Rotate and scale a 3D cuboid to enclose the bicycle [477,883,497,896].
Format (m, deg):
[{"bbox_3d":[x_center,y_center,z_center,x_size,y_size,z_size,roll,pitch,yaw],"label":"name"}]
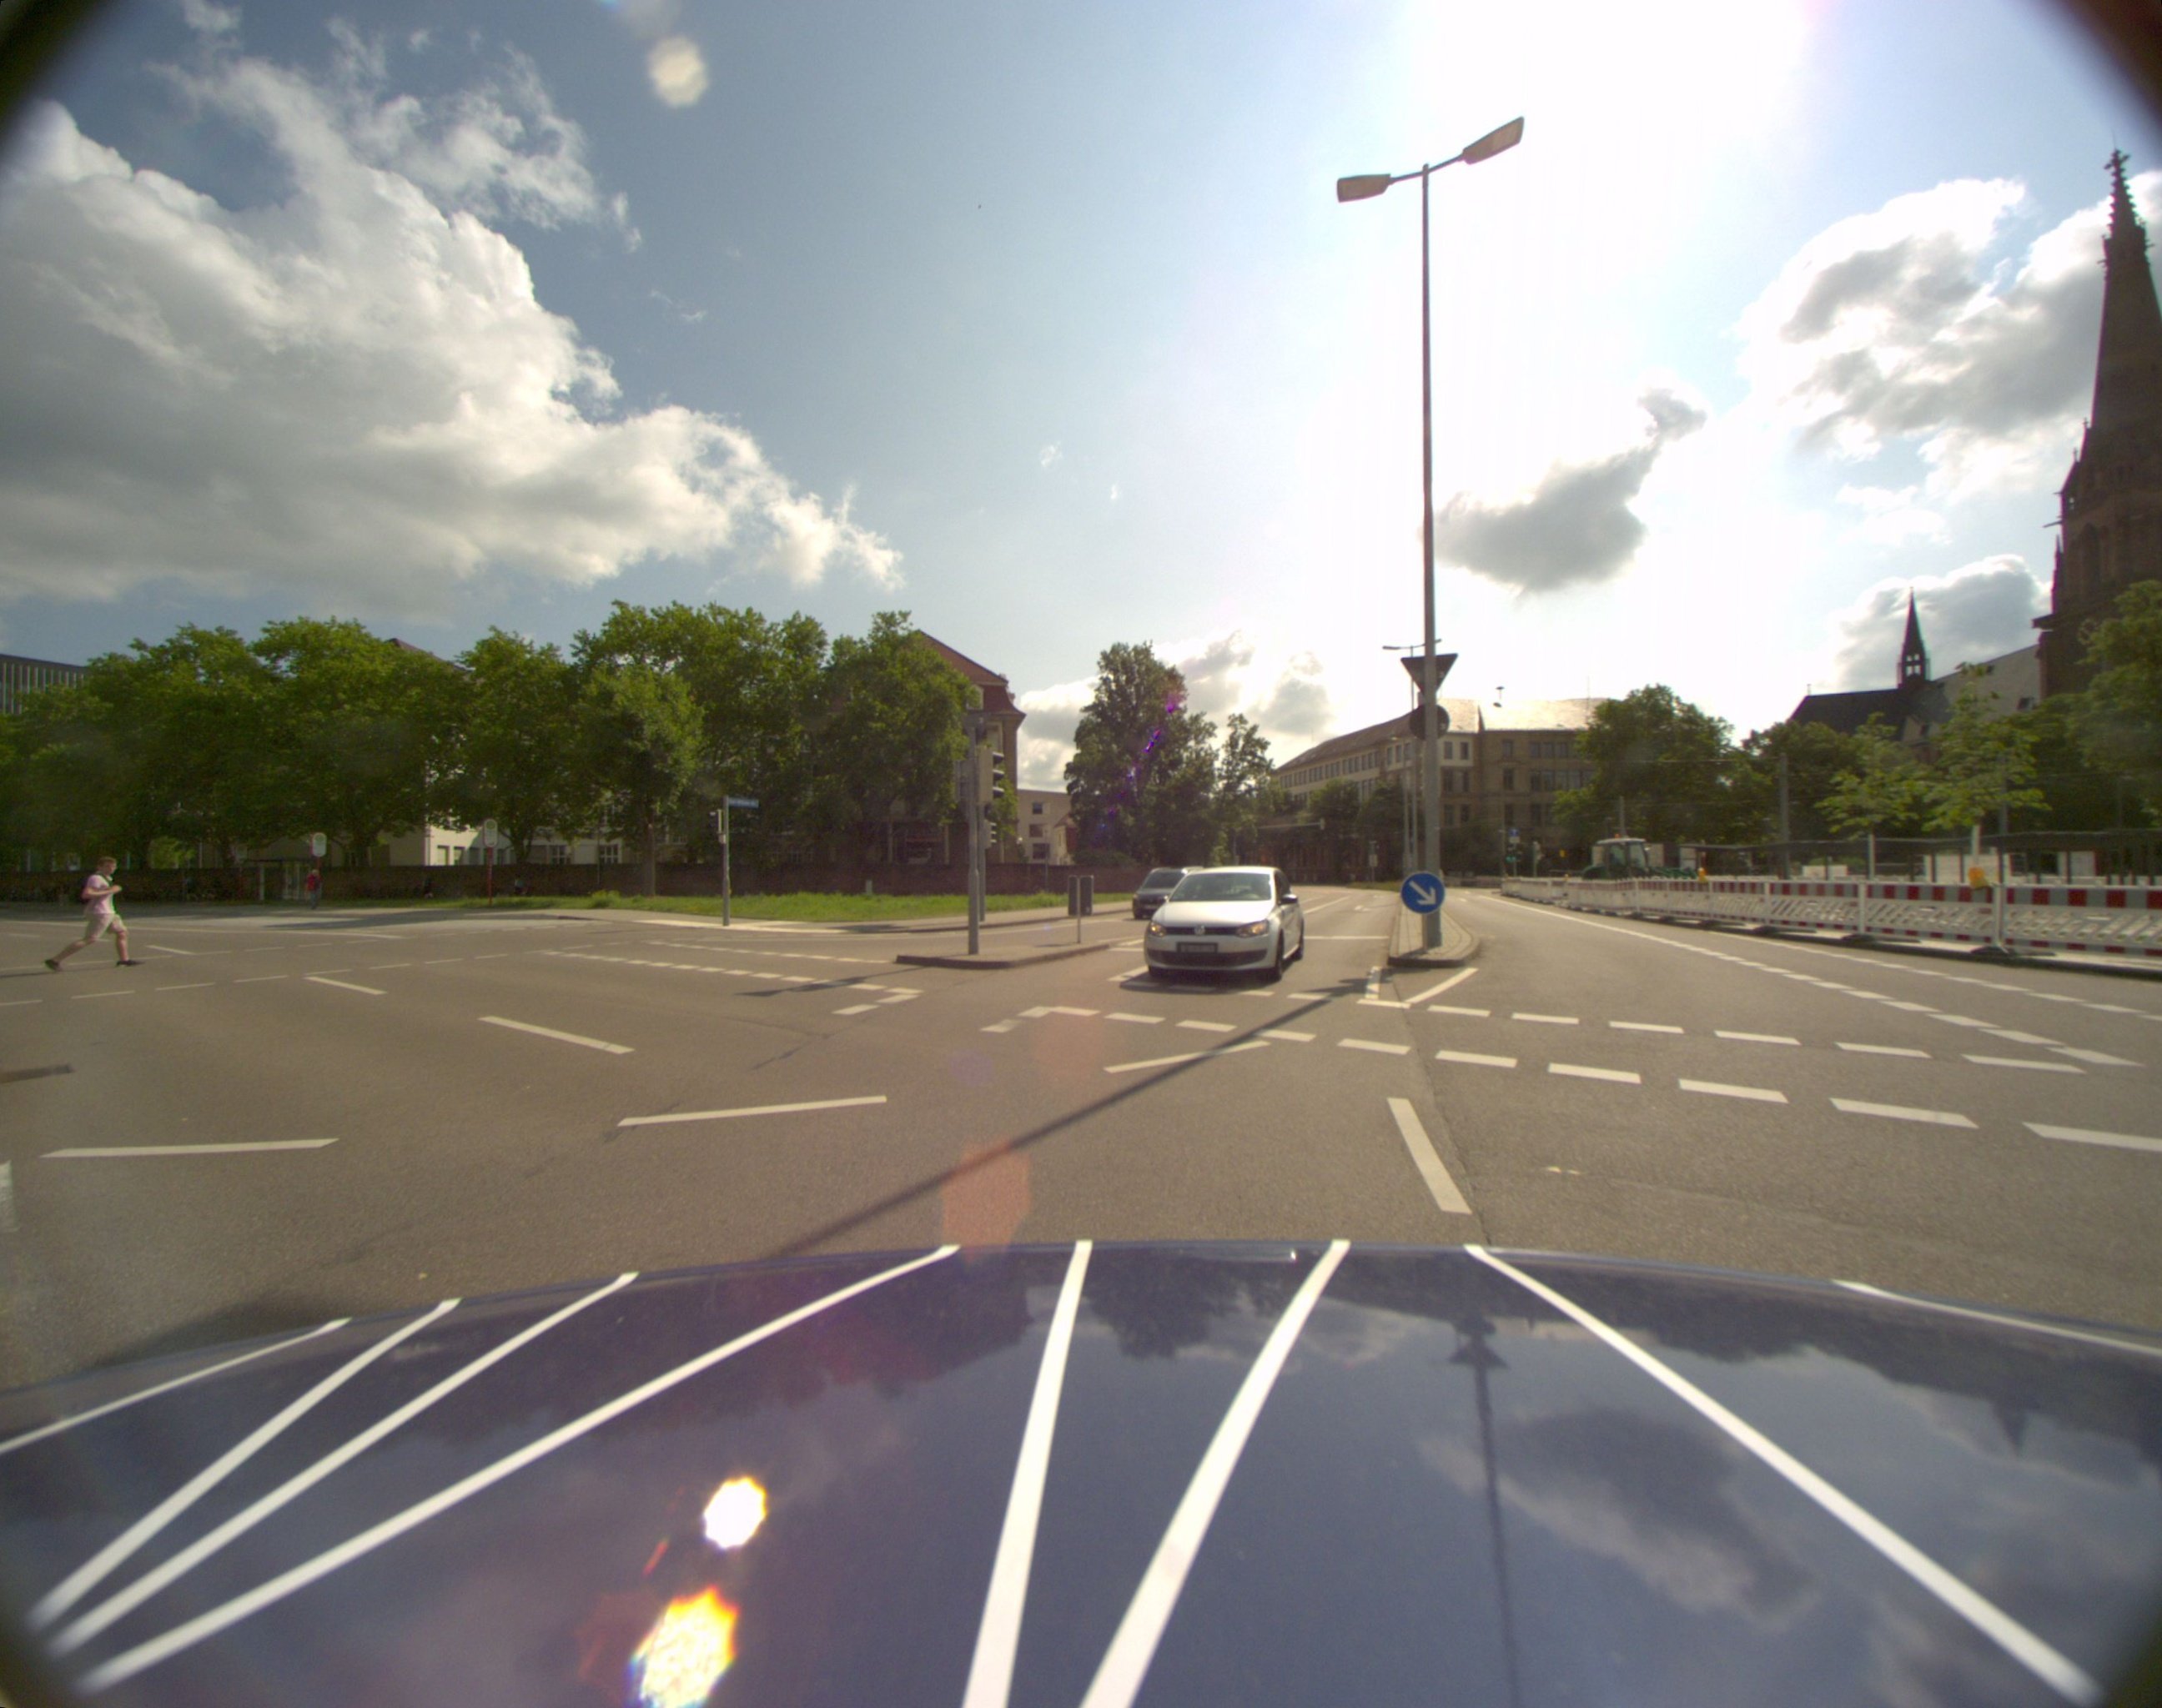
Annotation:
[{"bbox_3d":[-38.174,2.288,48.806,0.482,0.843,0.973,0,-1,1],"label":"bicycle"}]

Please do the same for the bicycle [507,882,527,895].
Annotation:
[{"bbox_3d":[-36.196,2.206,48.766,0.482,0.843,0.973,0,-1,1],"label":"bicycle"}]

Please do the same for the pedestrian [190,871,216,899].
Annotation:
[{"bbox_3d":[-56.506,2.002,48.899,0.769,1.770,0.888,0,1,23],"label":"pedestrian"}]

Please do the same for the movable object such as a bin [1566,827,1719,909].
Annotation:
[{"bbox_3d":[21.824,0.553,29.764,2.002,2.931,4.444,0,-1,-20],"label":"movable object such as a bin"}]

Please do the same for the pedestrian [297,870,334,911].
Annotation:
[{"bbox_3d":[-34.532,1.636,34.283,0.964,1.769,0.750,0,0,15],"label":"pedestrian"}]

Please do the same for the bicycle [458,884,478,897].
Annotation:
[{"bbox_3d":[-39.380,2.337,48.797,0.482,0.843,0.973,0,-1,1],"label":"bicycle"}]

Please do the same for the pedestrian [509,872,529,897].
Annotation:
[{"bbox_3d":[-35.548,1.932,48.073,0.724,1.524,0.726,-1,0,0],"label":"pedestrian"}]

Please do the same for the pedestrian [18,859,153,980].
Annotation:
[{"bbox_3d":[-16.040,1.030,12.271,0.697,1.845,1.183,-5,-2,26],"label":"pedestrian"}]

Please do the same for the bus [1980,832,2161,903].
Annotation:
[{"bbox_3d":[47.076,0.627,34.582,2.374,3.039,7.756,0,-1,-12],"label":"bus"}]

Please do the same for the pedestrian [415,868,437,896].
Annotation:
[{"bbox_3d":[-40.381,1.694,46.867,0.742,1.712,0.664,0,-1,4],"label":"pedestrian"}]

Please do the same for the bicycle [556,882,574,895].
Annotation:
[{"bbox_3d":[-32.996,2.199,48.611,0.482,0.843,0.973,0,-1,1],"label":"bicycle"}]

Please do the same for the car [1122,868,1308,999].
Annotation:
[{"bbox_3d":[2.049,0.947,10.535,1.653,1.433,4.012,-3,-2,22],"label":"car"}]

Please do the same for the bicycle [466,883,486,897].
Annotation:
[{"bbox_3d":[-38.825,2.315,48.803,0.482,0.843,0.973,0,-1,1],"label":"bicycle"}]

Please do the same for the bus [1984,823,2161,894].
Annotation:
[{"bbox_3d":[50.398,0.195,34.509,2.994,3.243,12.064,0,-1,-12],"label":"bus"}]

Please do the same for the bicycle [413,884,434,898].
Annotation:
[{"bbox_3d":[-42.297,2.391,48.894,0.482,0.843,0.973,0,-1,1],"label":"bicycle"}]

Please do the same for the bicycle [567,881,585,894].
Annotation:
[{"bbox_3d":[-32.314,2.153,48.672,0.482,0.843,0.973,0,-1,1],"label":"bicycle"}]

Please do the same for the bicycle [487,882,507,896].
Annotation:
[{"bbox_3d":[-37.496,2.259,48.805,0.482,0.843,0.973,0,-1,1],"label":"bicycle"}]

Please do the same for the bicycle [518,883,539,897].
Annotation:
[{"bbox_3d":[-35.371,2.289,48.663,0.499,0.843,1.074,0,-1,1],"label":"bicycle"}]

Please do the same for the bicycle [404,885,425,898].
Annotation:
[{"bbox_3d":[-42.876,2.414,48.879,0.482,0.843,0.973,0,-1,1],"label":"bicycle"}]

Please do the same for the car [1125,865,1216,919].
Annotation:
[{"bbox_3d":[3.359,1.345,27.634,1.850,1.774,4.681,-2,-2,25],"label":"car"}]

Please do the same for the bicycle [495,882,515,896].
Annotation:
[{"bbox_3d":[-36.934,2.233,48.737,0.482,0.843,0.973,0,-1,1],"label":"bicycle"}]

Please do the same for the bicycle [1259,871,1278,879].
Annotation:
[{"bbox_3d":[30.959,3.457,125.683,2.887,1.200,1.052,-1,2,31],"label":"bicycle"}]

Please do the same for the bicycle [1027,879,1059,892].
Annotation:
[{"bbox_3d":[-2.643,2.229,53.407,2.063,0.856,0.857,1,1,-23],"label":"bicycle"}]

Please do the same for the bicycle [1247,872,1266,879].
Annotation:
[{"bbox_3d":[29.651,3.598,128.613,2.887,1.200,1.075,-1,2,31],"label":"bicycle"}]
